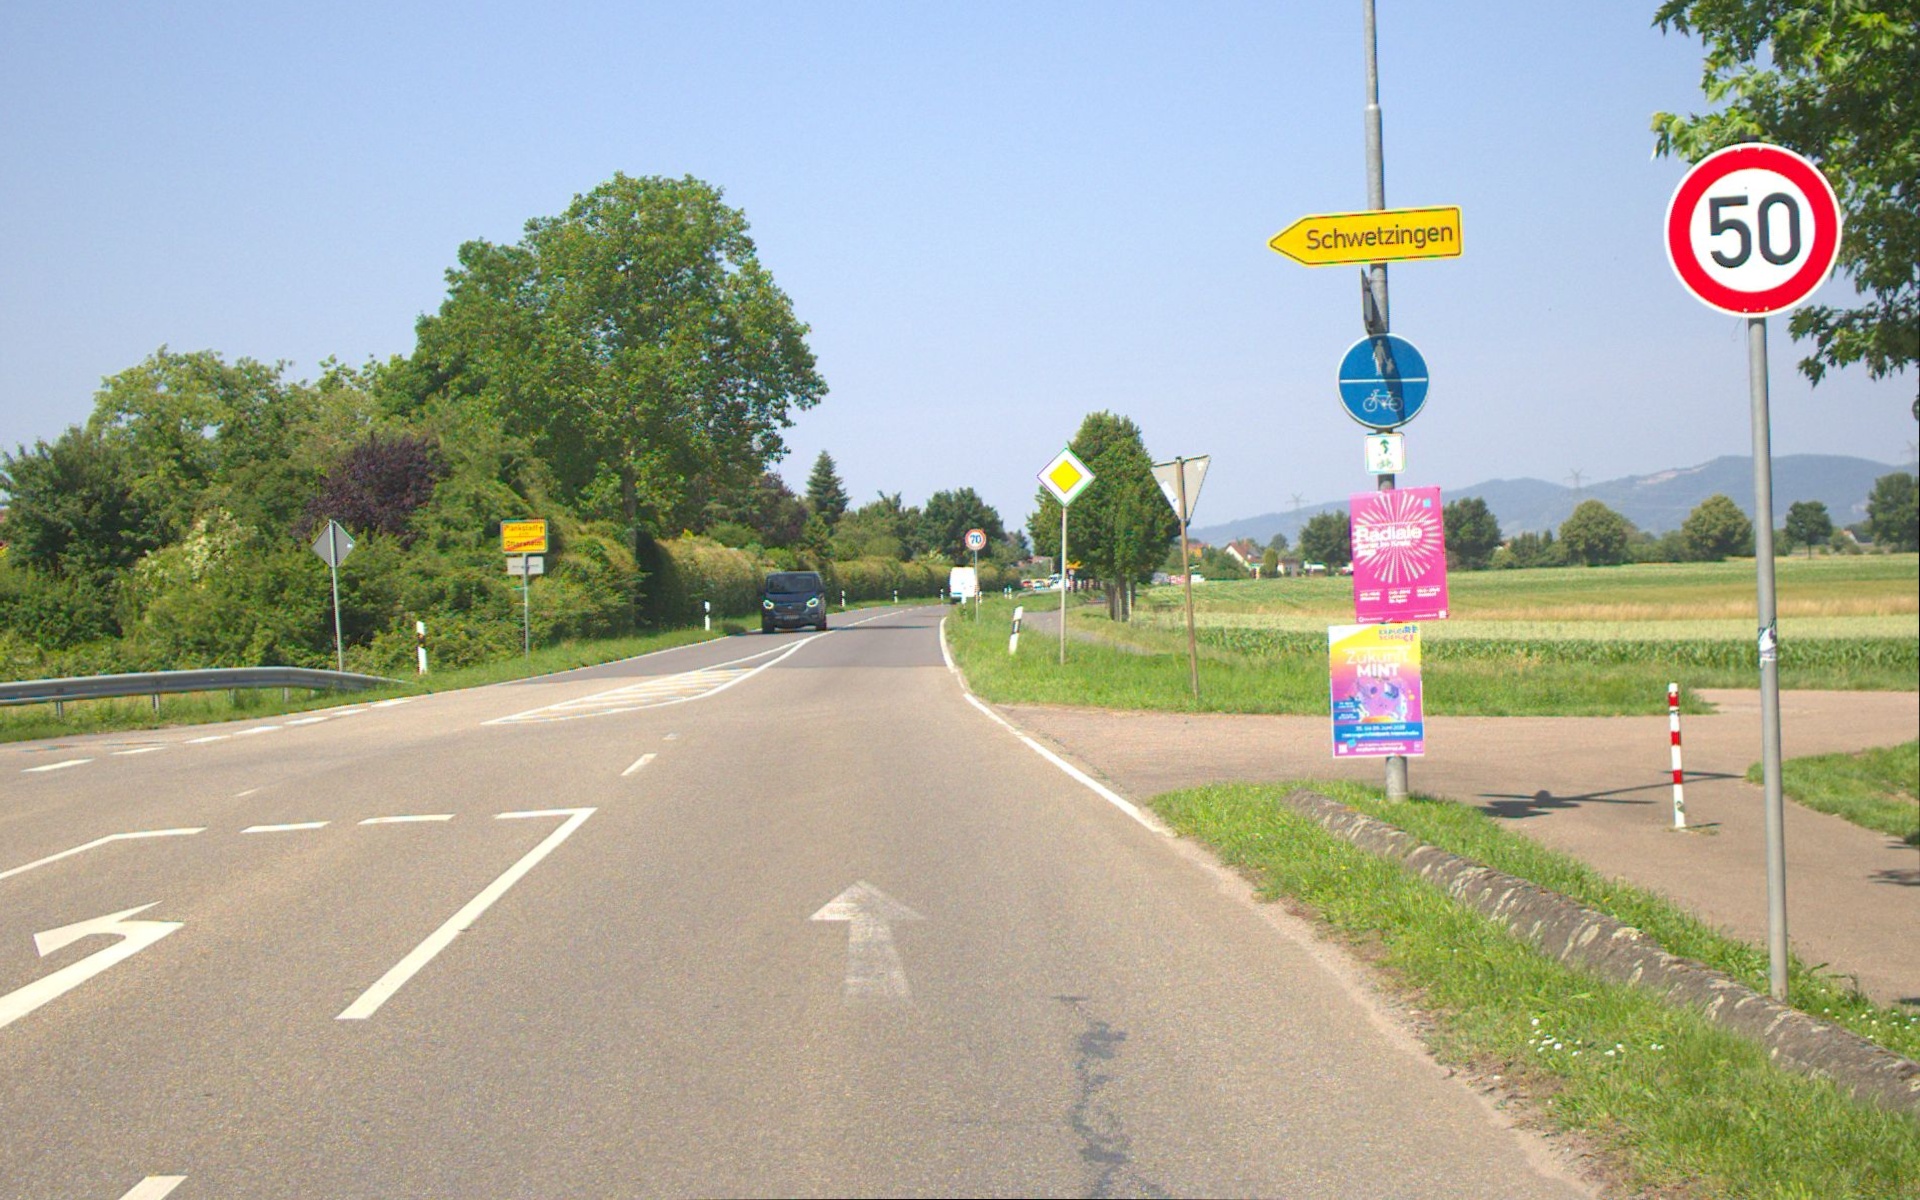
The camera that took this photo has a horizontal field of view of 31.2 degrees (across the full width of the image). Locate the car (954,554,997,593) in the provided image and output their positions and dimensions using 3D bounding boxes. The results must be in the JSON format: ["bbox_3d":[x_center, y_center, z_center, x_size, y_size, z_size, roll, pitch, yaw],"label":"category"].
[{"bbox_3d":[1.115,-1.886,244.956,1.995,2.642,3.997,-2,1,16],"label":"car"}]

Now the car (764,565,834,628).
[{"bbox_3d":[-5.267,-0.137,113.089,2.144,1.944,5.248,-2,1,-2],"label":"car"}]
